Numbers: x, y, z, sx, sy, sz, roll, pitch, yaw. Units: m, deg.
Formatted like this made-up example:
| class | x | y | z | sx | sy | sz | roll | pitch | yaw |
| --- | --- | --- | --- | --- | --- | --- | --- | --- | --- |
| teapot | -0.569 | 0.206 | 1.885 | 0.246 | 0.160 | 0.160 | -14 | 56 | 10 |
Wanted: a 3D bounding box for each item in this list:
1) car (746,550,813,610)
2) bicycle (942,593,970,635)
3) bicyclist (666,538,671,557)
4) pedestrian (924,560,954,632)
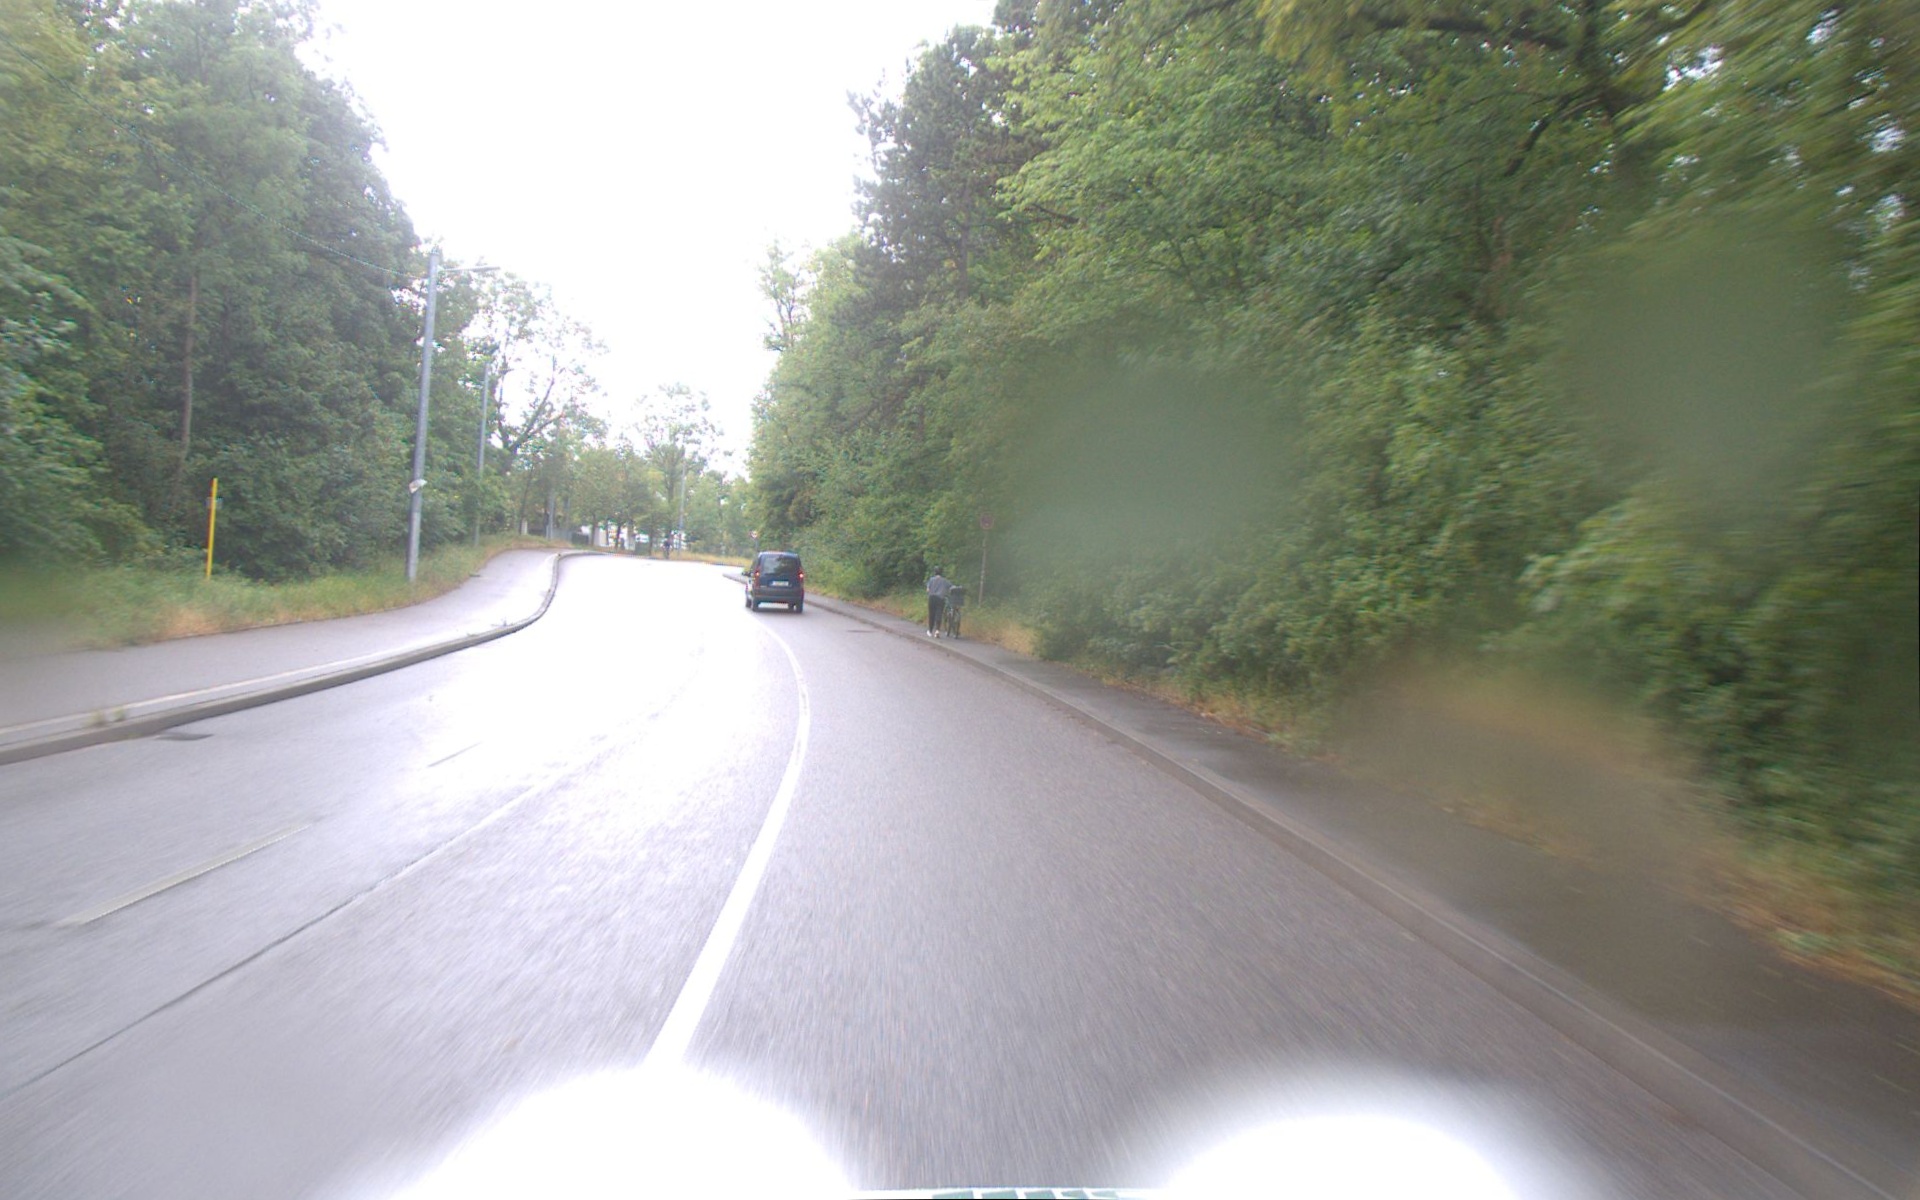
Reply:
| class | x | y | z | sx | sy | sz | roll | pitch | yaw |
| --- | --- | --- | --- | --- | --- | --- | --- | --- | --- |
| car | -5.823 | -0.631 | 53.017 | 1.795 | 1.825 | 3.989 | 1 | 1 | -12 |
| bicycle | -0.093 | 0.303 | 37.544 | 0.349 | 0.863 | 1.739 | -1 | 3 | -10 |
| bicyclist | -24.317 | -4.370 | 137.986 | 0.330 | 1.601 | 1.295 | 3 | 2 | -10 |
| pedestrian | -0.478 | -0.087 | 37.469 | 0.554 | 1.605 | 0.768 | 1 | -1 | -10 |
